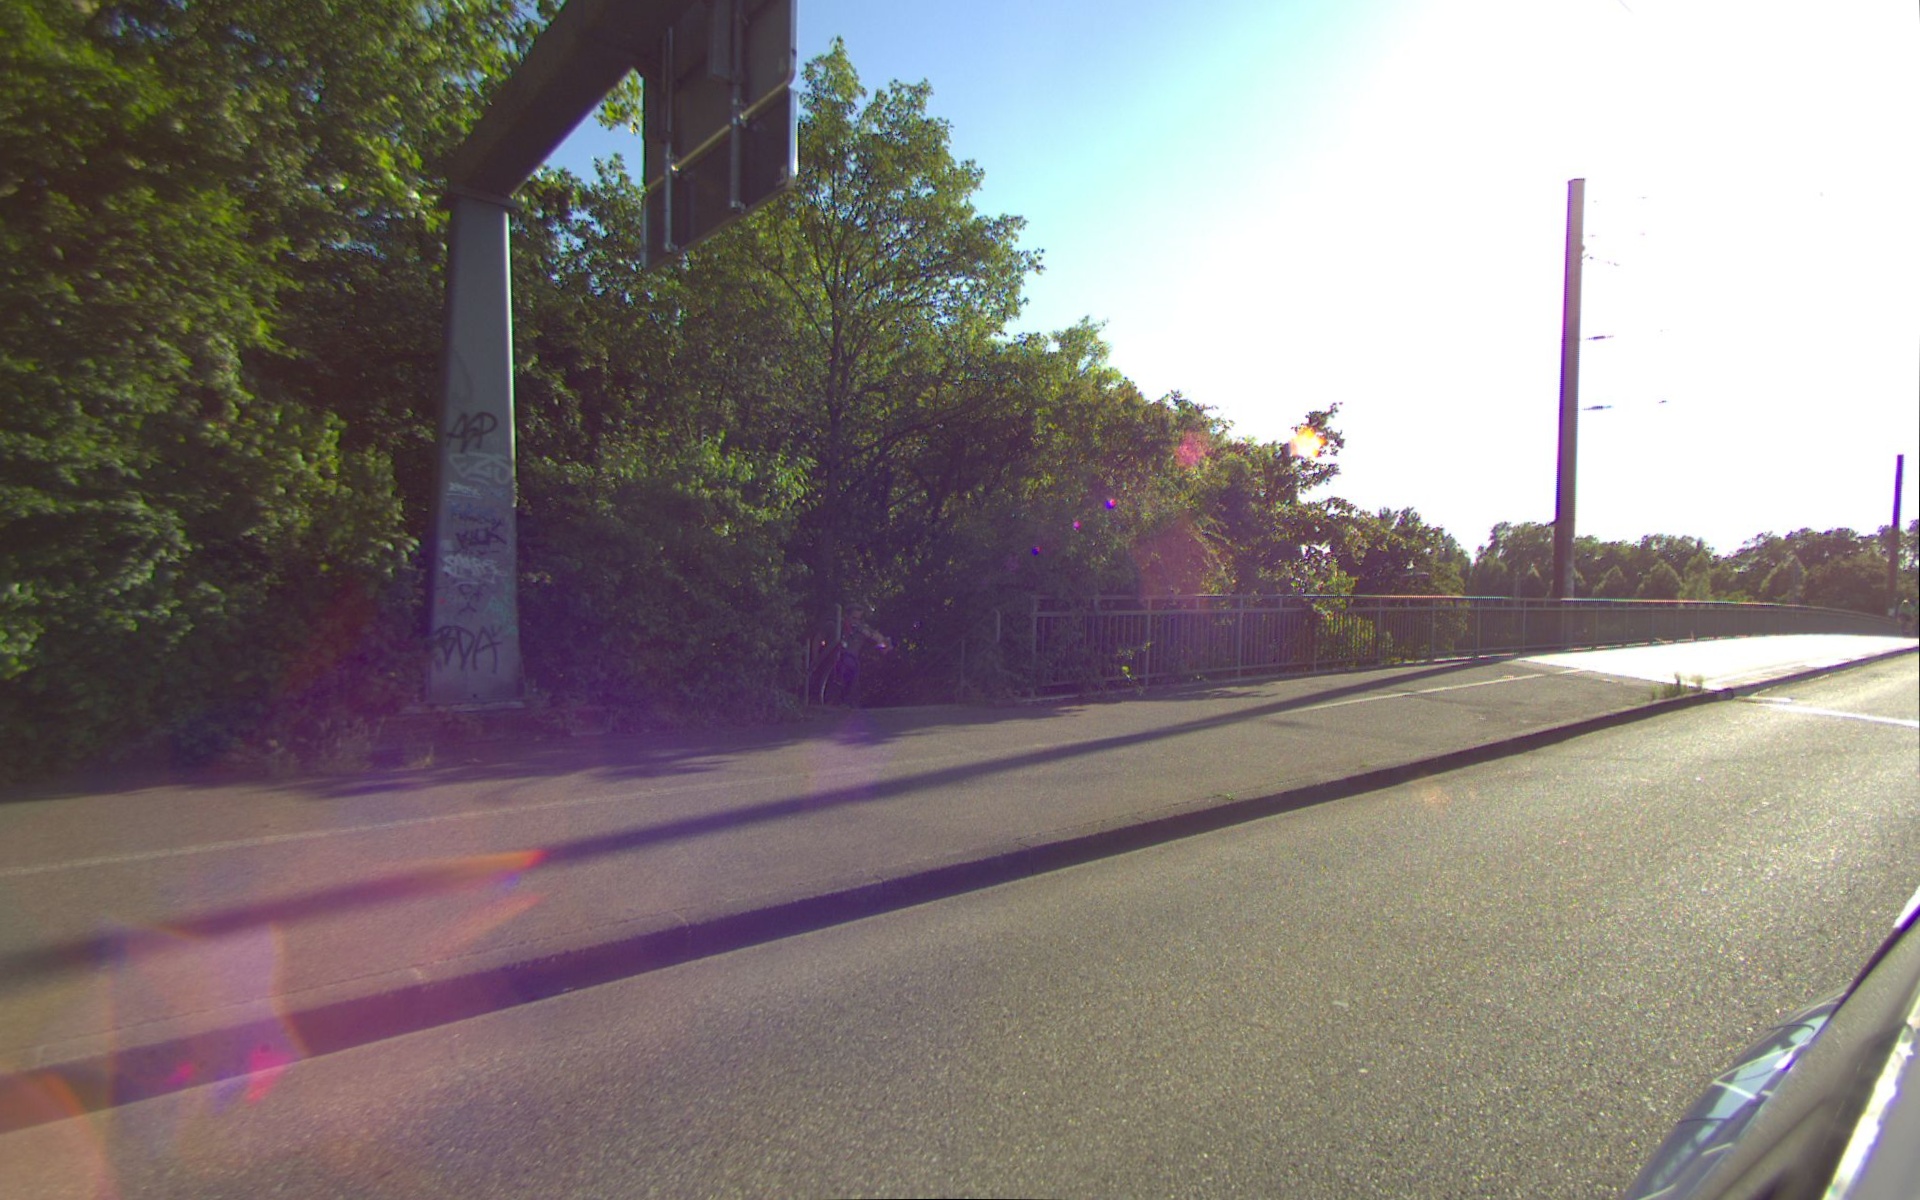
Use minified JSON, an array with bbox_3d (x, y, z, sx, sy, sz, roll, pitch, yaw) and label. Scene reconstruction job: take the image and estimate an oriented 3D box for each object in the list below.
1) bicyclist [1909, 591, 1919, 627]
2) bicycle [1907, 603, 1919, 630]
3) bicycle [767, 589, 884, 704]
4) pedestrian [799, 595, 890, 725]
[{"bbox_3d":[42.310,0.396,44.602,0.988,1.527,0.626,3,-2,-42],"label":"bicyclist"},{"bbox_3d":[42.320,0.740,44.627,2.220,1.137,0.626,3,-2,-42],"label":"bicycle"},{"bbox_3d":[-1.560,0.469,11.416,0.614,1.136,2.045,1,1,-28],"label":"bicycle"},{"bbox_3d":[-1.337,0.657,11.671,0.790,1.413,0.815,1,1,-27],"label":"pedestrian"}]
